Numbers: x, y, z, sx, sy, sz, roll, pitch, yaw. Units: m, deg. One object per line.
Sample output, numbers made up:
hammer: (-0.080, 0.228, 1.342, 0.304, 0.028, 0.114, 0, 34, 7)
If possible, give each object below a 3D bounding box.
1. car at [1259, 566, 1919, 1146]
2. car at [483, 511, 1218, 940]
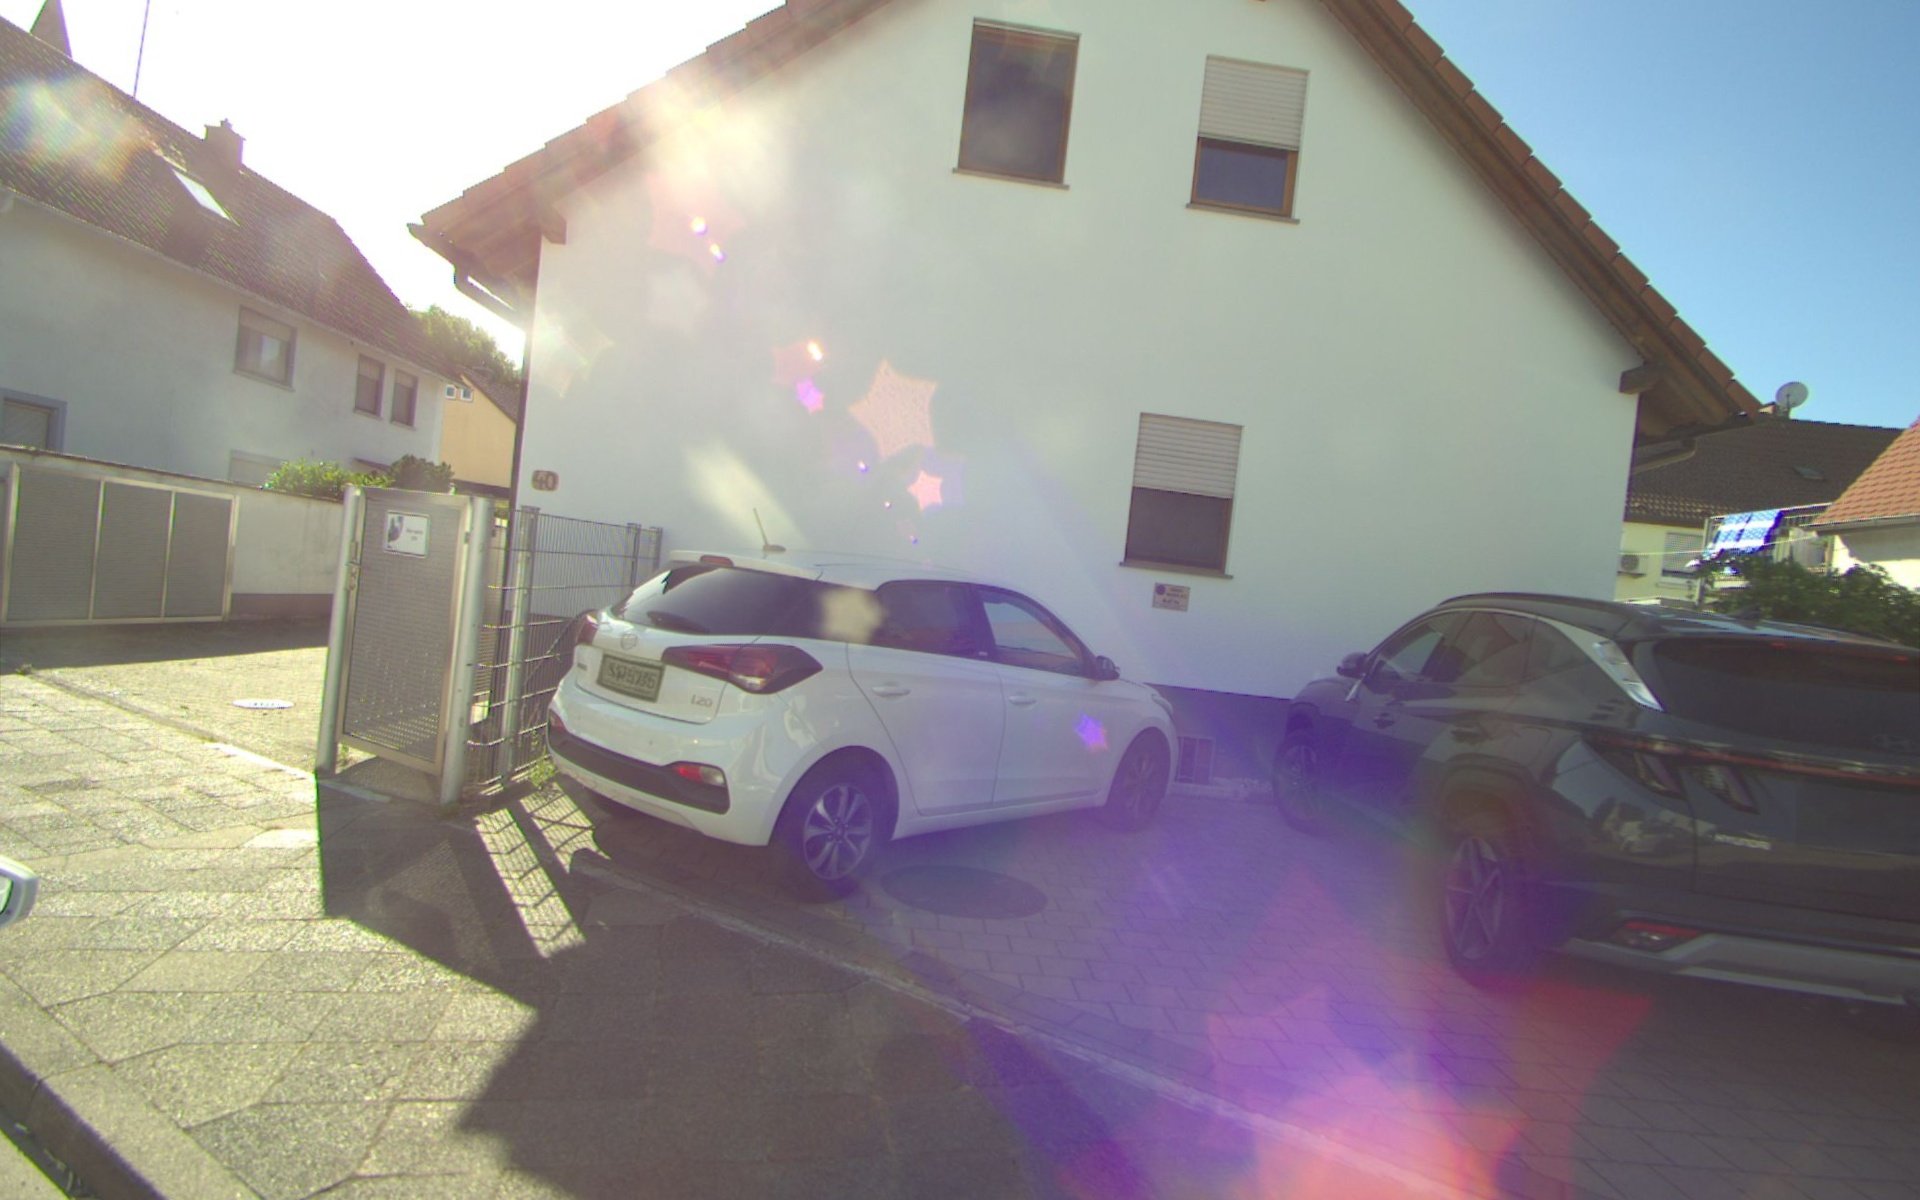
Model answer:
car: (3.078, 0.836, 5.173, 1.876, 1.710, 4.048, 7, 1, 3)
car: (-0.306, 0.527, 5.750, 1.820, 1.511, 3.906, 7, 1, 40)
